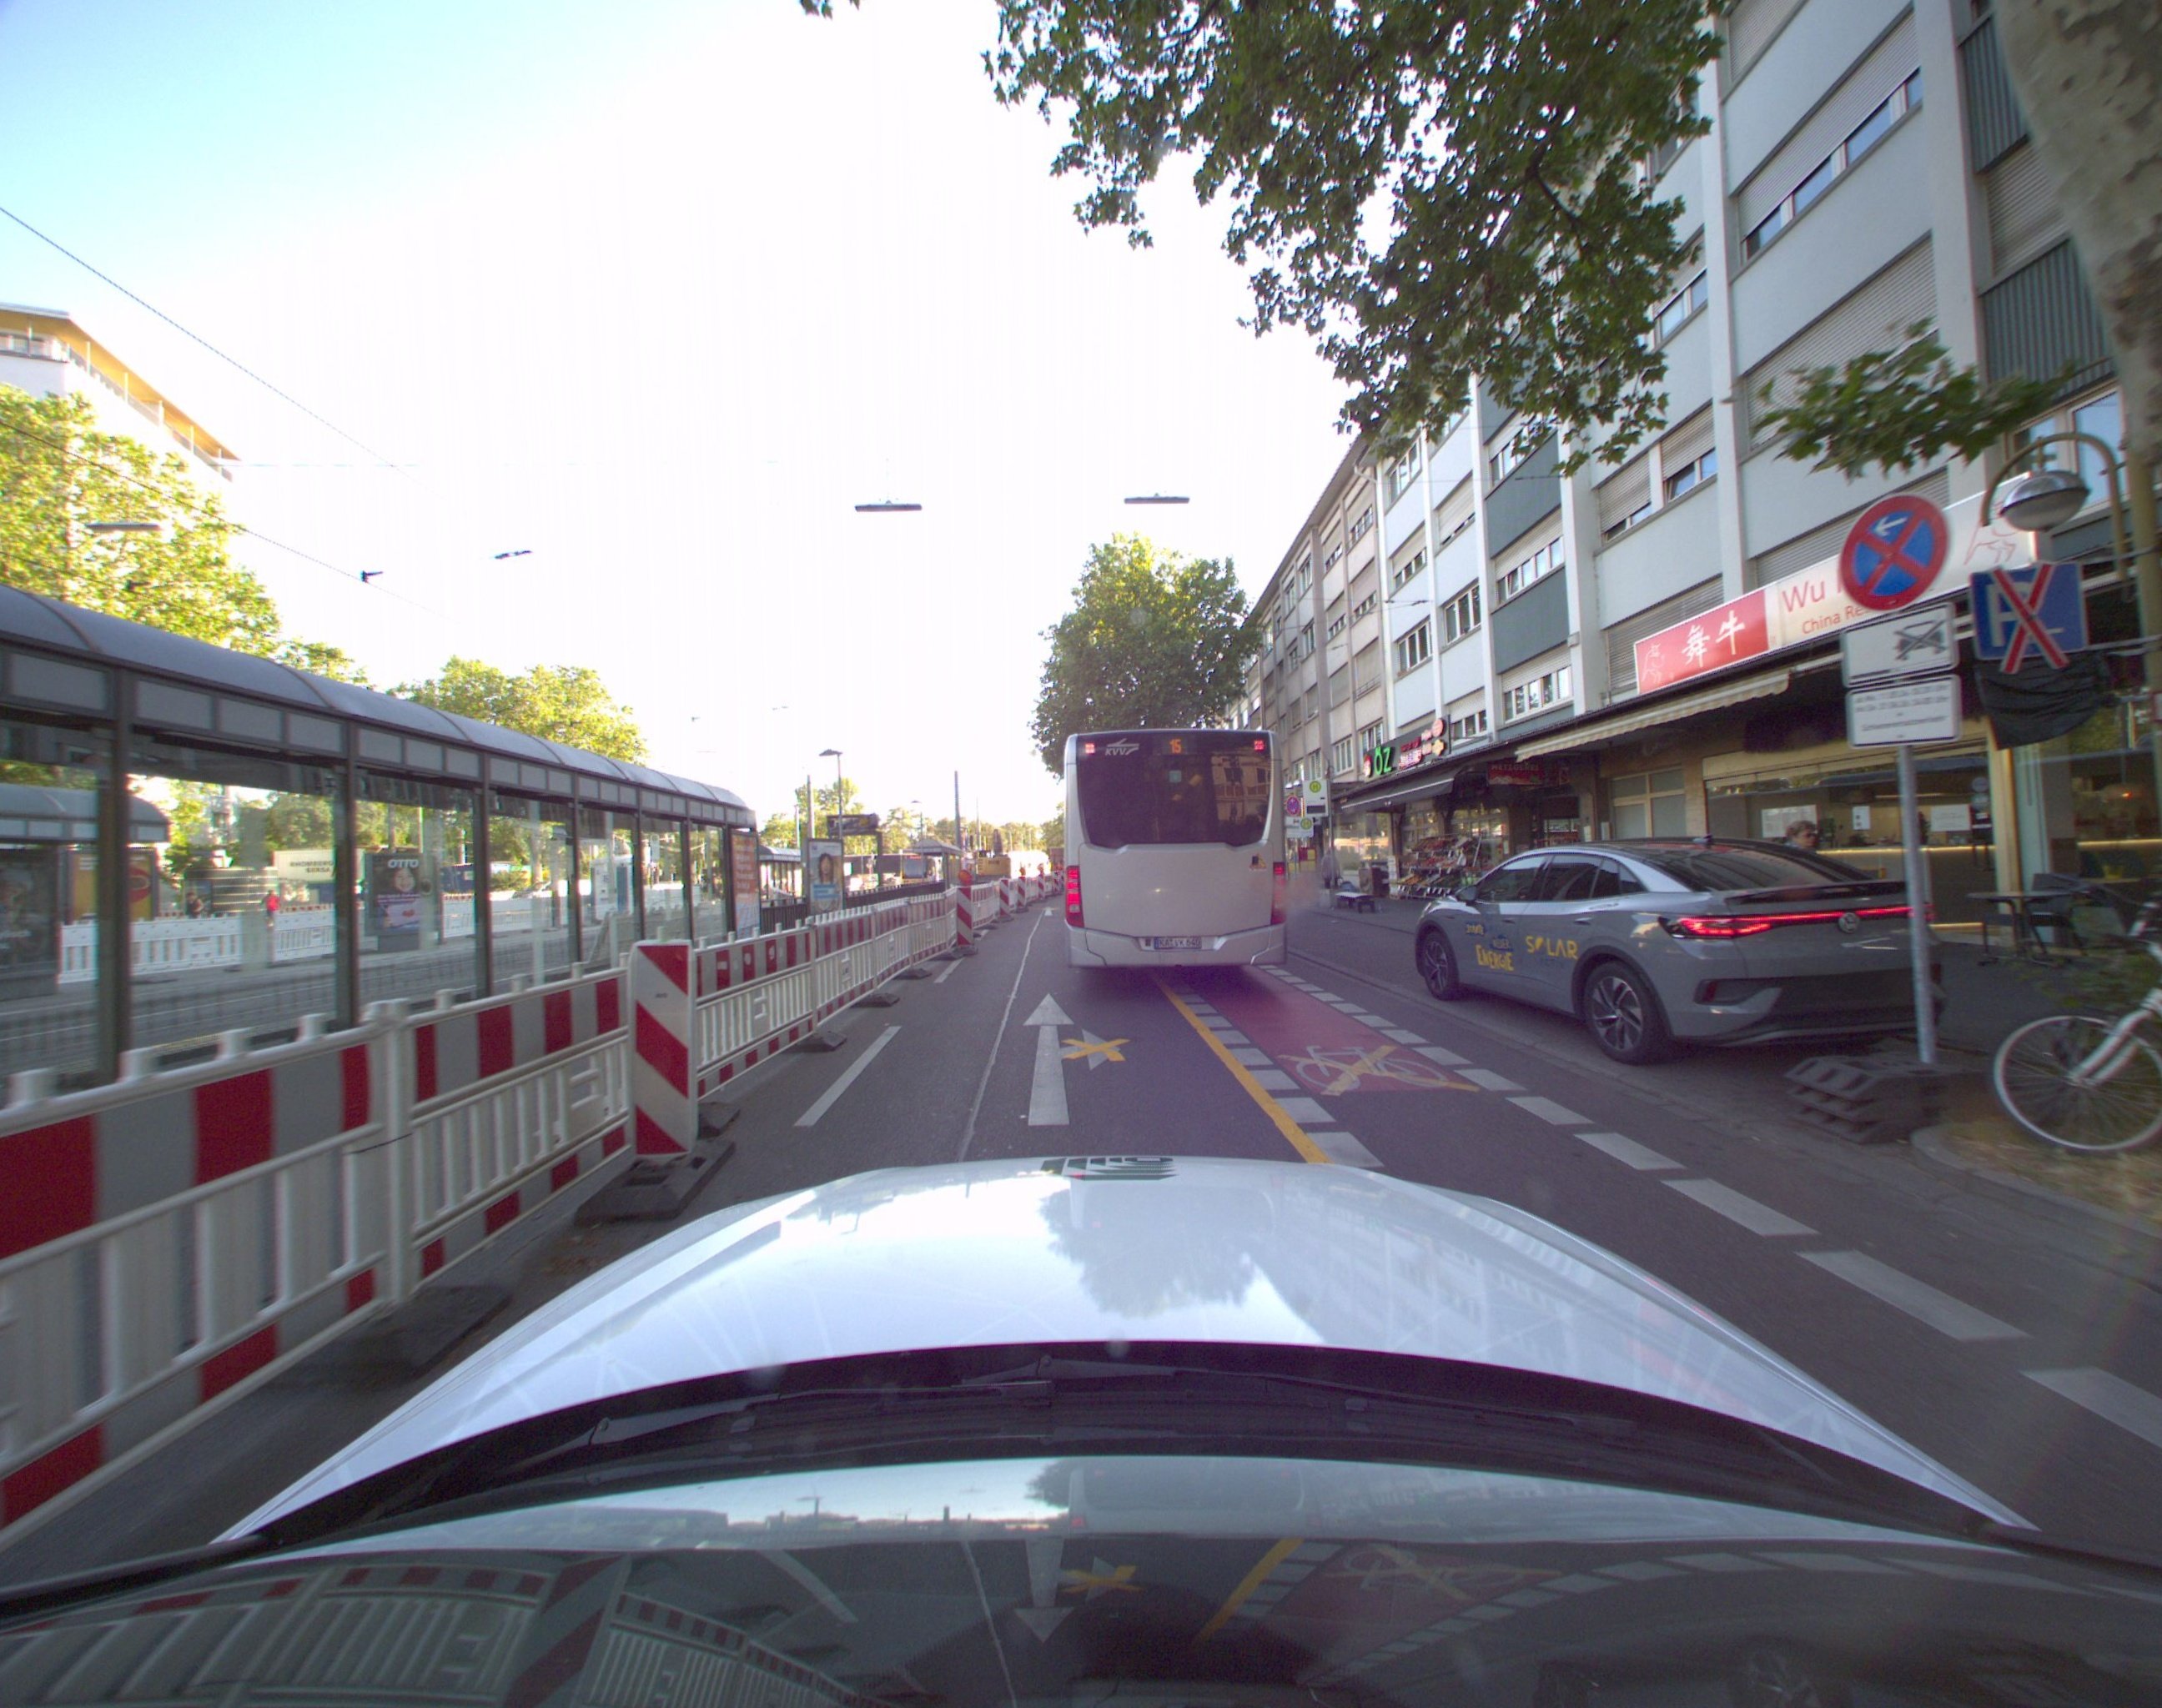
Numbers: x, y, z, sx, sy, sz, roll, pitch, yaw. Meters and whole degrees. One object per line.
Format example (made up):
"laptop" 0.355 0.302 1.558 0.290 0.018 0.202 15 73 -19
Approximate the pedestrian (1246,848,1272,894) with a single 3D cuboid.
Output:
"pedestrian" 6.719 0.632 30.742 0.871 1.691 0.622 -2 -1 17

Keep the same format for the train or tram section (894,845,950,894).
"train or tram section" -12.486 1.218 65.113 2.680 3.534 11.757 -1 -1 -3

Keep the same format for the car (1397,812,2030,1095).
"car" 4.740 0.619 7.168 1.989 1.582 4.364 -4 0 -2

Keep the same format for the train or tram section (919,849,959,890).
"train or tram section" -13.237 1.467 76.761 2.682 3.559 11.560 0 -1 -5

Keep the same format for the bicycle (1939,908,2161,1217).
"bicycle" 4.538 0.850 3.346 0.550 1.155 1.446 -2 -1 7

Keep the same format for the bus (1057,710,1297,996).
"bus" 1.213 0.052 12.930 2.601 3.126 7.997 0 -1 2

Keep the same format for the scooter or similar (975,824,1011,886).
"scooter or similar" -6.653 0.130 62.272 2.465 4.471 5.962 -2 -1 -5

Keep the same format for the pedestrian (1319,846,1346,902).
"pedestrian" 7.847 0.621 25.384 0.658 1.667 0.603 -4 -2 18
